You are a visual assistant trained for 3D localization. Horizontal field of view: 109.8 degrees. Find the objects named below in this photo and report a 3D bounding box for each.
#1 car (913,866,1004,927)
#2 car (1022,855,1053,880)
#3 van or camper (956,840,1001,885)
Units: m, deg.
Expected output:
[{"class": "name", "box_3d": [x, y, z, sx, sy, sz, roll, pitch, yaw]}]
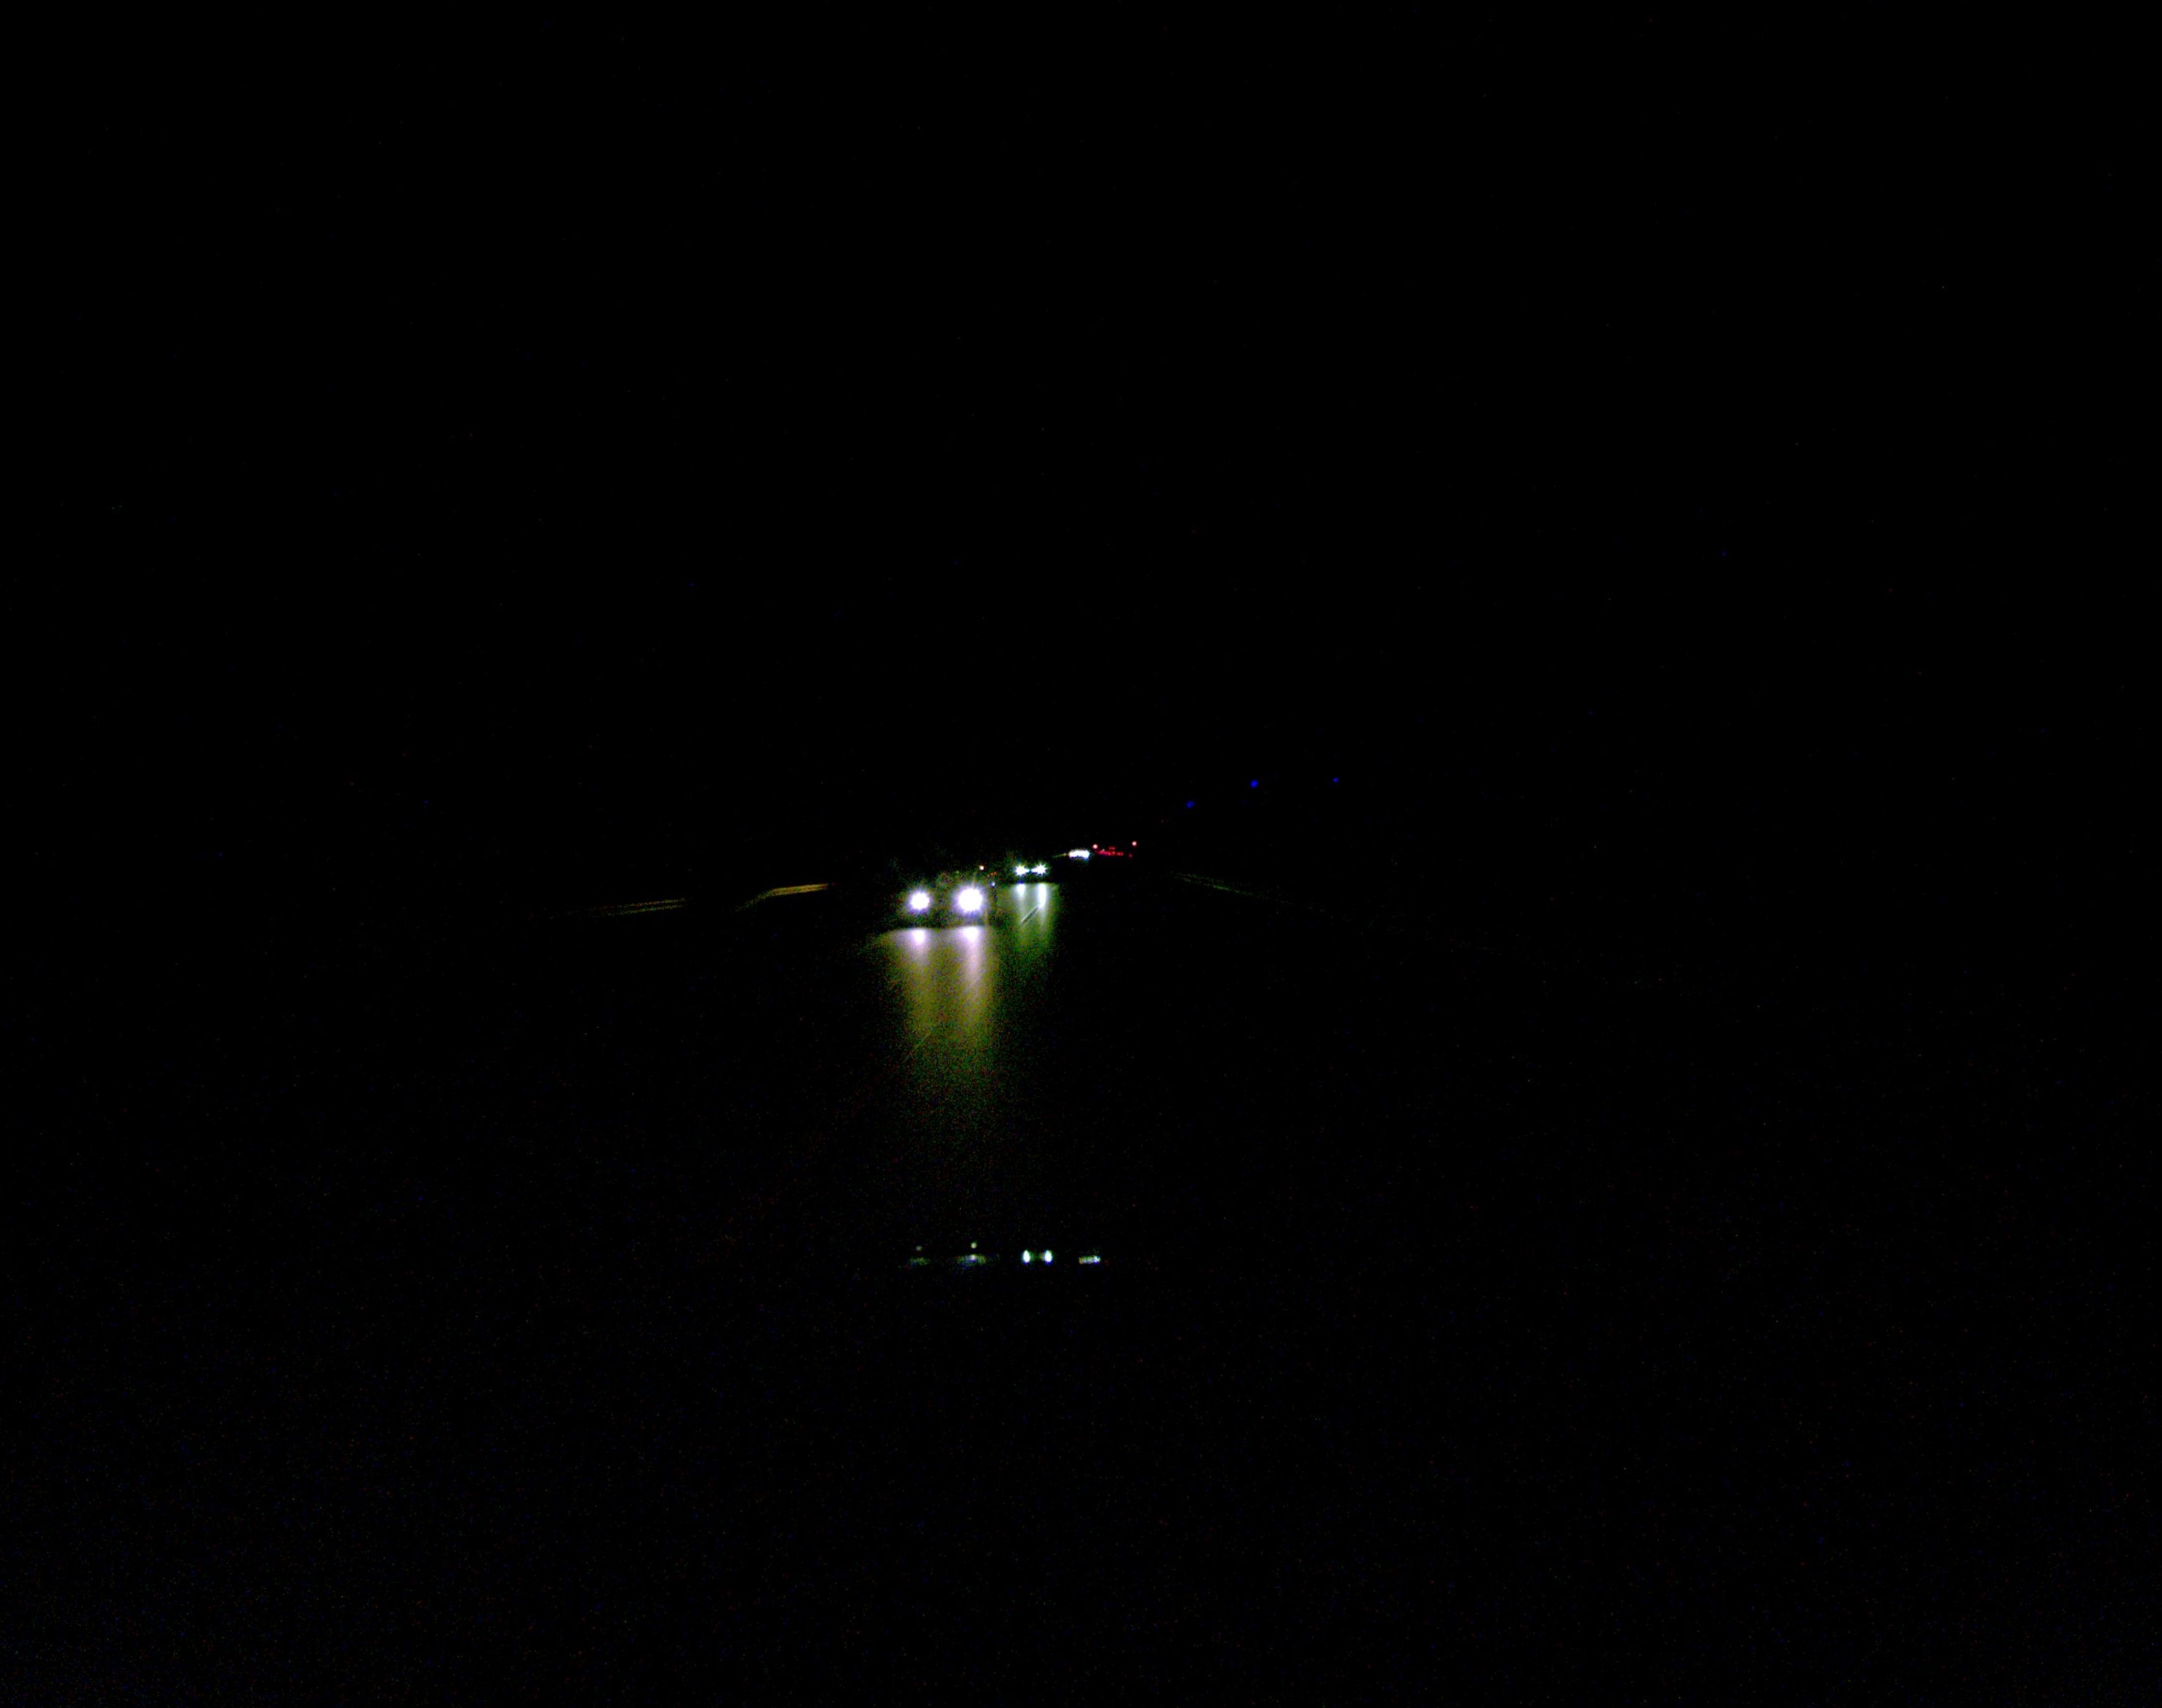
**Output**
[{"class": "car", "box_3d": [-3.205, 1.076, 20.636, 1.690, 1.405, 4.226, -2, -1, 0]}, {"class": "car", "box_3d": [-2.925, 0.872, 51.599, 1.795, 1.532, 4.225, -3, 0, 0]}, {"class": "van or camper", "box_3d": [-6.899, 0.512, 51.696, 2.213, 2.755, 6.802, -3, 0, -2]}]
